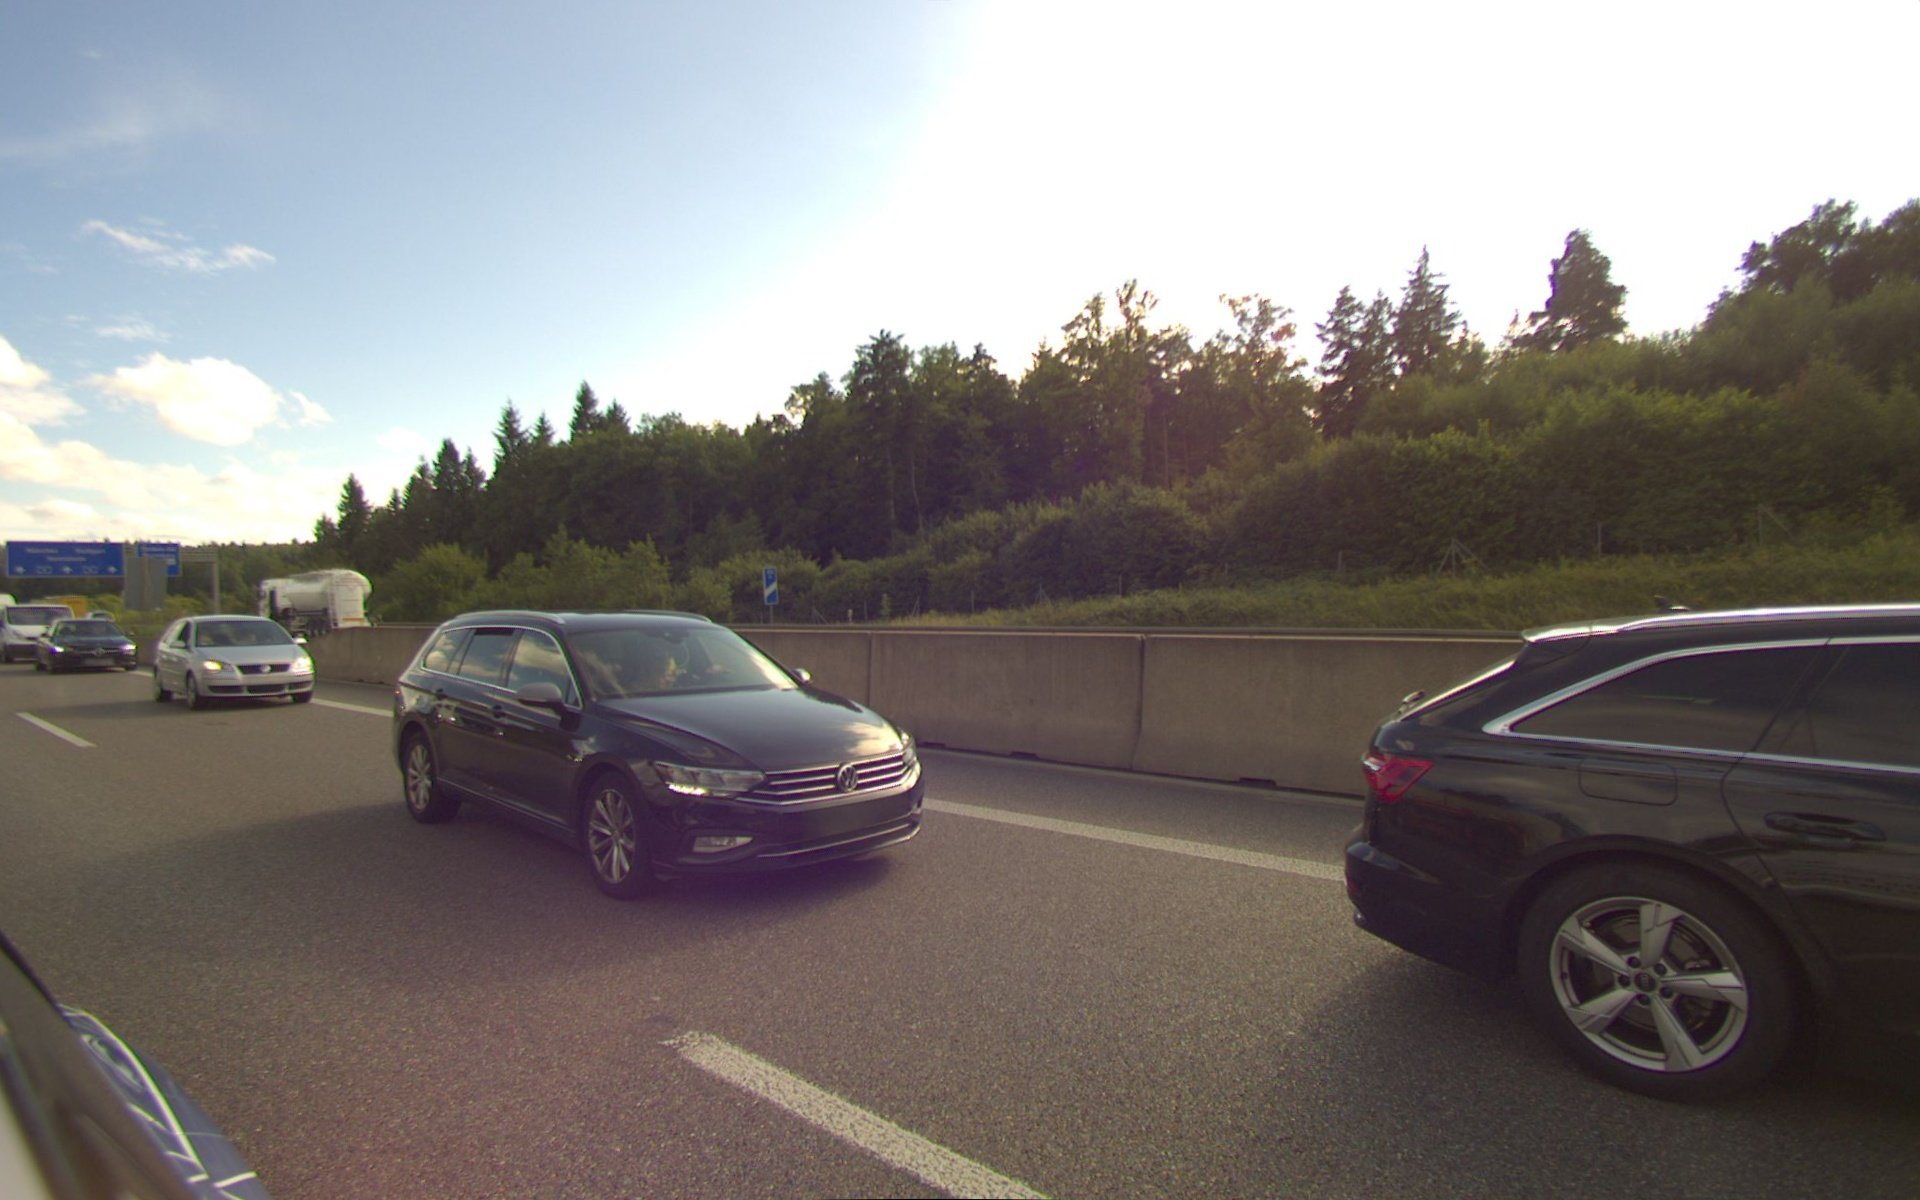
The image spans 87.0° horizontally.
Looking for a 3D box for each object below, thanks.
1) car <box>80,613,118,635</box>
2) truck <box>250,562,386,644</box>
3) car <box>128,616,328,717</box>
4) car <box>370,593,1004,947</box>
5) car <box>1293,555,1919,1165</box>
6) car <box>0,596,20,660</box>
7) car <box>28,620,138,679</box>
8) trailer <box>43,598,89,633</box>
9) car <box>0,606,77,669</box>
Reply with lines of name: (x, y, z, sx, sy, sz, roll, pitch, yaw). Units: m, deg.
car: (-72.605, 2.028, 85.302, 4.322, 1.725, 1.833, -1, 0, 41)
truck: (-38.055, 0.210, 59.620, 13.903, 4.387, 2.902, -1, 0, 41)
car: (-12.423, 1.027, 17.053, 4.665, 1.442, 1.785, -1, 0, 42)
car: (-2.050, 0.753, 6.549, 4.569, 1.488, 1.890, -1, -1, 44)
car: (3.580, 0.611, 2.576, 4.851, 1.483, 1.862, -1, 0, 43)
car: (-41.574, 1.188, 42.859, 5.860, 2.591, 2.027, -1, -2, 42)
car: (-23.885, 1.301, 27.513, 3.993, 1.442, 1.785, -1, 0, 42)
trailer: (-113.996, 1.946, 128.950, 13.557, 4.234, 2.804, -1, 0, 42)
car: (-31.601, 1.230, 34.312, 4.846, 1.980, 1.922, -1, 0, 42)
